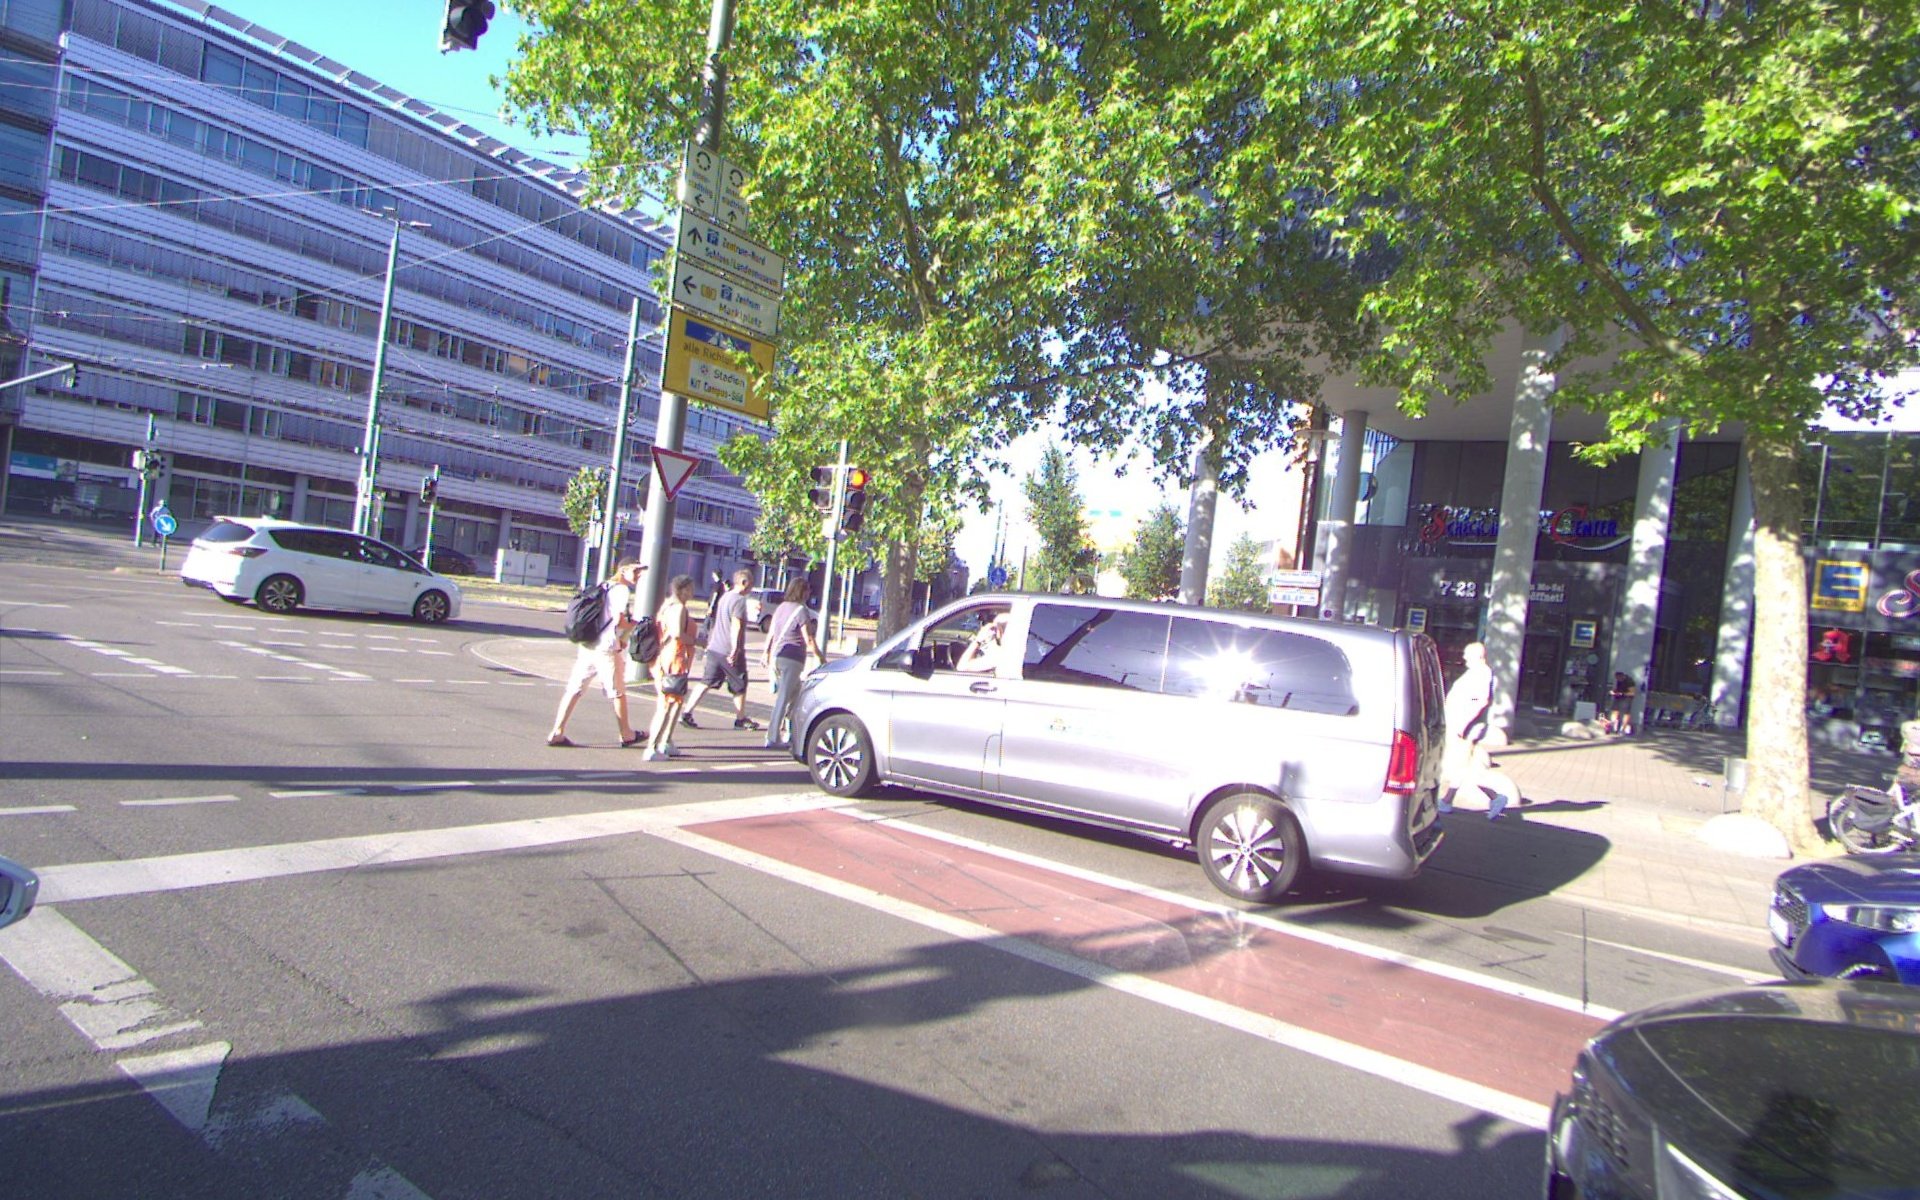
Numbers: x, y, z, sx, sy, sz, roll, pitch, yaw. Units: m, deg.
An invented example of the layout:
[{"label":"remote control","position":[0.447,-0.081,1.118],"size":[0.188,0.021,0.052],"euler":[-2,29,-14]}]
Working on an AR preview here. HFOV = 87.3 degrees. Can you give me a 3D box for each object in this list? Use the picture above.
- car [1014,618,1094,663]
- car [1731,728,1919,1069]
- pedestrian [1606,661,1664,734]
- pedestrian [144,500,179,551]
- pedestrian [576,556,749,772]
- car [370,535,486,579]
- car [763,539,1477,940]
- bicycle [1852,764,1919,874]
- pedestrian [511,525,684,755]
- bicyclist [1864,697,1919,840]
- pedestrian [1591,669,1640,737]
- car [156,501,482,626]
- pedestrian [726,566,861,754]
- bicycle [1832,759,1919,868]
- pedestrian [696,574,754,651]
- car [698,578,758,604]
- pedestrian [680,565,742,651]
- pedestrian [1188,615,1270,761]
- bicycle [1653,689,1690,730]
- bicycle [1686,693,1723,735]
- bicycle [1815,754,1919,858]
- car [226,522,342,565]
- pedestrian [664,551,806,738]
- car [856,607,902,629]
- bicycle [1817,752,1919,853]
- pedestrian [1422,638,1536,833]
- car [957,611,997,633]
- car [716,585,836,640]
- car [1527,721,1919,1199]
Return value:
[{"label":"car","position":[4.274,1.841,44.895],"size":[1.794,1.602,4.491],"euler":[7,-1,29]},{"label":"car","position":[6.418,1.711,4.707],"size":[4.147,1.482,1.767],"euler":[7,0,32]},{"label":"pedestrian","position":[18.750,2.713,27.948],"size":[0.990,1.867,0.844],"euler":[6,1,-33]},{"label":"pedestrian","position":[-28.600,-2.658,36.046],"size":[0.549,1.701,0.719],"euler":[7,-1,39]},{"label":"pedestrian","position":[-2.580,0.555,8.822],"size":[0.744,1.701,1.076],"euler":[7,-1,25]},{"label":"car","position":[-24.119,-1.947,45.743],"size":[1.768,1.409,4.241],"euler":[7,0,36]},{"label":"car","position":[1.100,0.822,7.998],"size":[5.053,1.988,1.997],"euler":[7,-2,32]},{"label":"bicycle","position":[10.433,2.381,10.484],"size":[1.545,1.038,0.461],"euler":[7,1,29]},{"label":"pedestrian","position":[-3.253,0.370,9.112],"size":[0.725,1.893,1.076],"euler":[7,-1,25]},{"label":"bicyclist","position":[12.872,2.264,13.427],"size":[0.840,1.790,0.749],"euler":[6,1,-21]},{"label":"pedestrian","position":[17.478,2.728,26.858],"size":[0.851,1.662,0.967],"euler":[7,1,28]},{"label":"car","position":[-12.132,-0.603,19.434],"size":[1.966,1.748,4.843],"euler":[7,-1,30]},{"label":"pedestrian","position":[-1.751,0.639,10.718],"size":[0.744,1.827,1.075],"euler":[7,-1,25]},{"label":"bicycle","position":[10.714,2.420,11.055],"size":[1.545,1.038,0.461],"euler":[7,1,29]},{"label":"pedestrian","position":[-5.674,0.310,24.299],"size":[0.855,1.701,0.845],"euler":[7,-1,39]},{"label":"car","position":[-16.802,-0.633,73.019],"size":[1.731,1.415,3.990],"euler":[7,0,33]},{"label":"pedestrian","position":[-5.723,0.190,23.110],"size":[0.855,1.841,0.845],"euler":[7,-1,39]},{"label":"pedestrian","position":[3.485,1.131,12.975],"size":[0.617,1.735,1.076],"euler":[7,-1,28]},{"label":"bicycle","position":[21.867,3.353,30.902],"size":[0.709,1.142,1.912],"euler":[7,0,39]},{"label":"bicycle","position":[22.519,3.438,30.423],"size":[0.709,1.142,1.912],"euler":[7,0,39]},{"label":"bicycle","position":[11.177,2.487,12.046],"size":[0.393,1.038,1.305],"euler":[6,1,-42]},{"label":"car","position":[-31.058,-2.594,46.303],"size":[1.946,1.364,3.986],"euler":[7,0,38]},{"label":"pedestrian","position":[-2.505,0.505,11.310],"size":[0.818,1.916,1.149],"euler":[7,-1,25]},{"label":"car","position":[-6.804,1.549,85.055],"size":[1.731,1.415,3.990],"euler":[7,0,33]},{"label":"bicycle","position":[11.505,2.517,12.402],"size":[0.393,1.038,1.305],"euler":[6,1,-42]},{"label":"pedestrian","position":[5.336,1.353,10.333],"size":[0.795,1.808,0.873],"euler":[7,1,31]},{"label":"car","position":[1.639,2.079,94.442],"size":[1.732,1.631,3.990],"euler":[7,0,34]},{"label":"car","position":[-6.330,0.453,35.005],"size":[1.796,1.451,3.912],"euler":[7,-1,34]},{"label":"car","position":[3.211,1.216,1.245],"size":[4.274,1.441,1.826],"euler":[7,-2,32]}]
